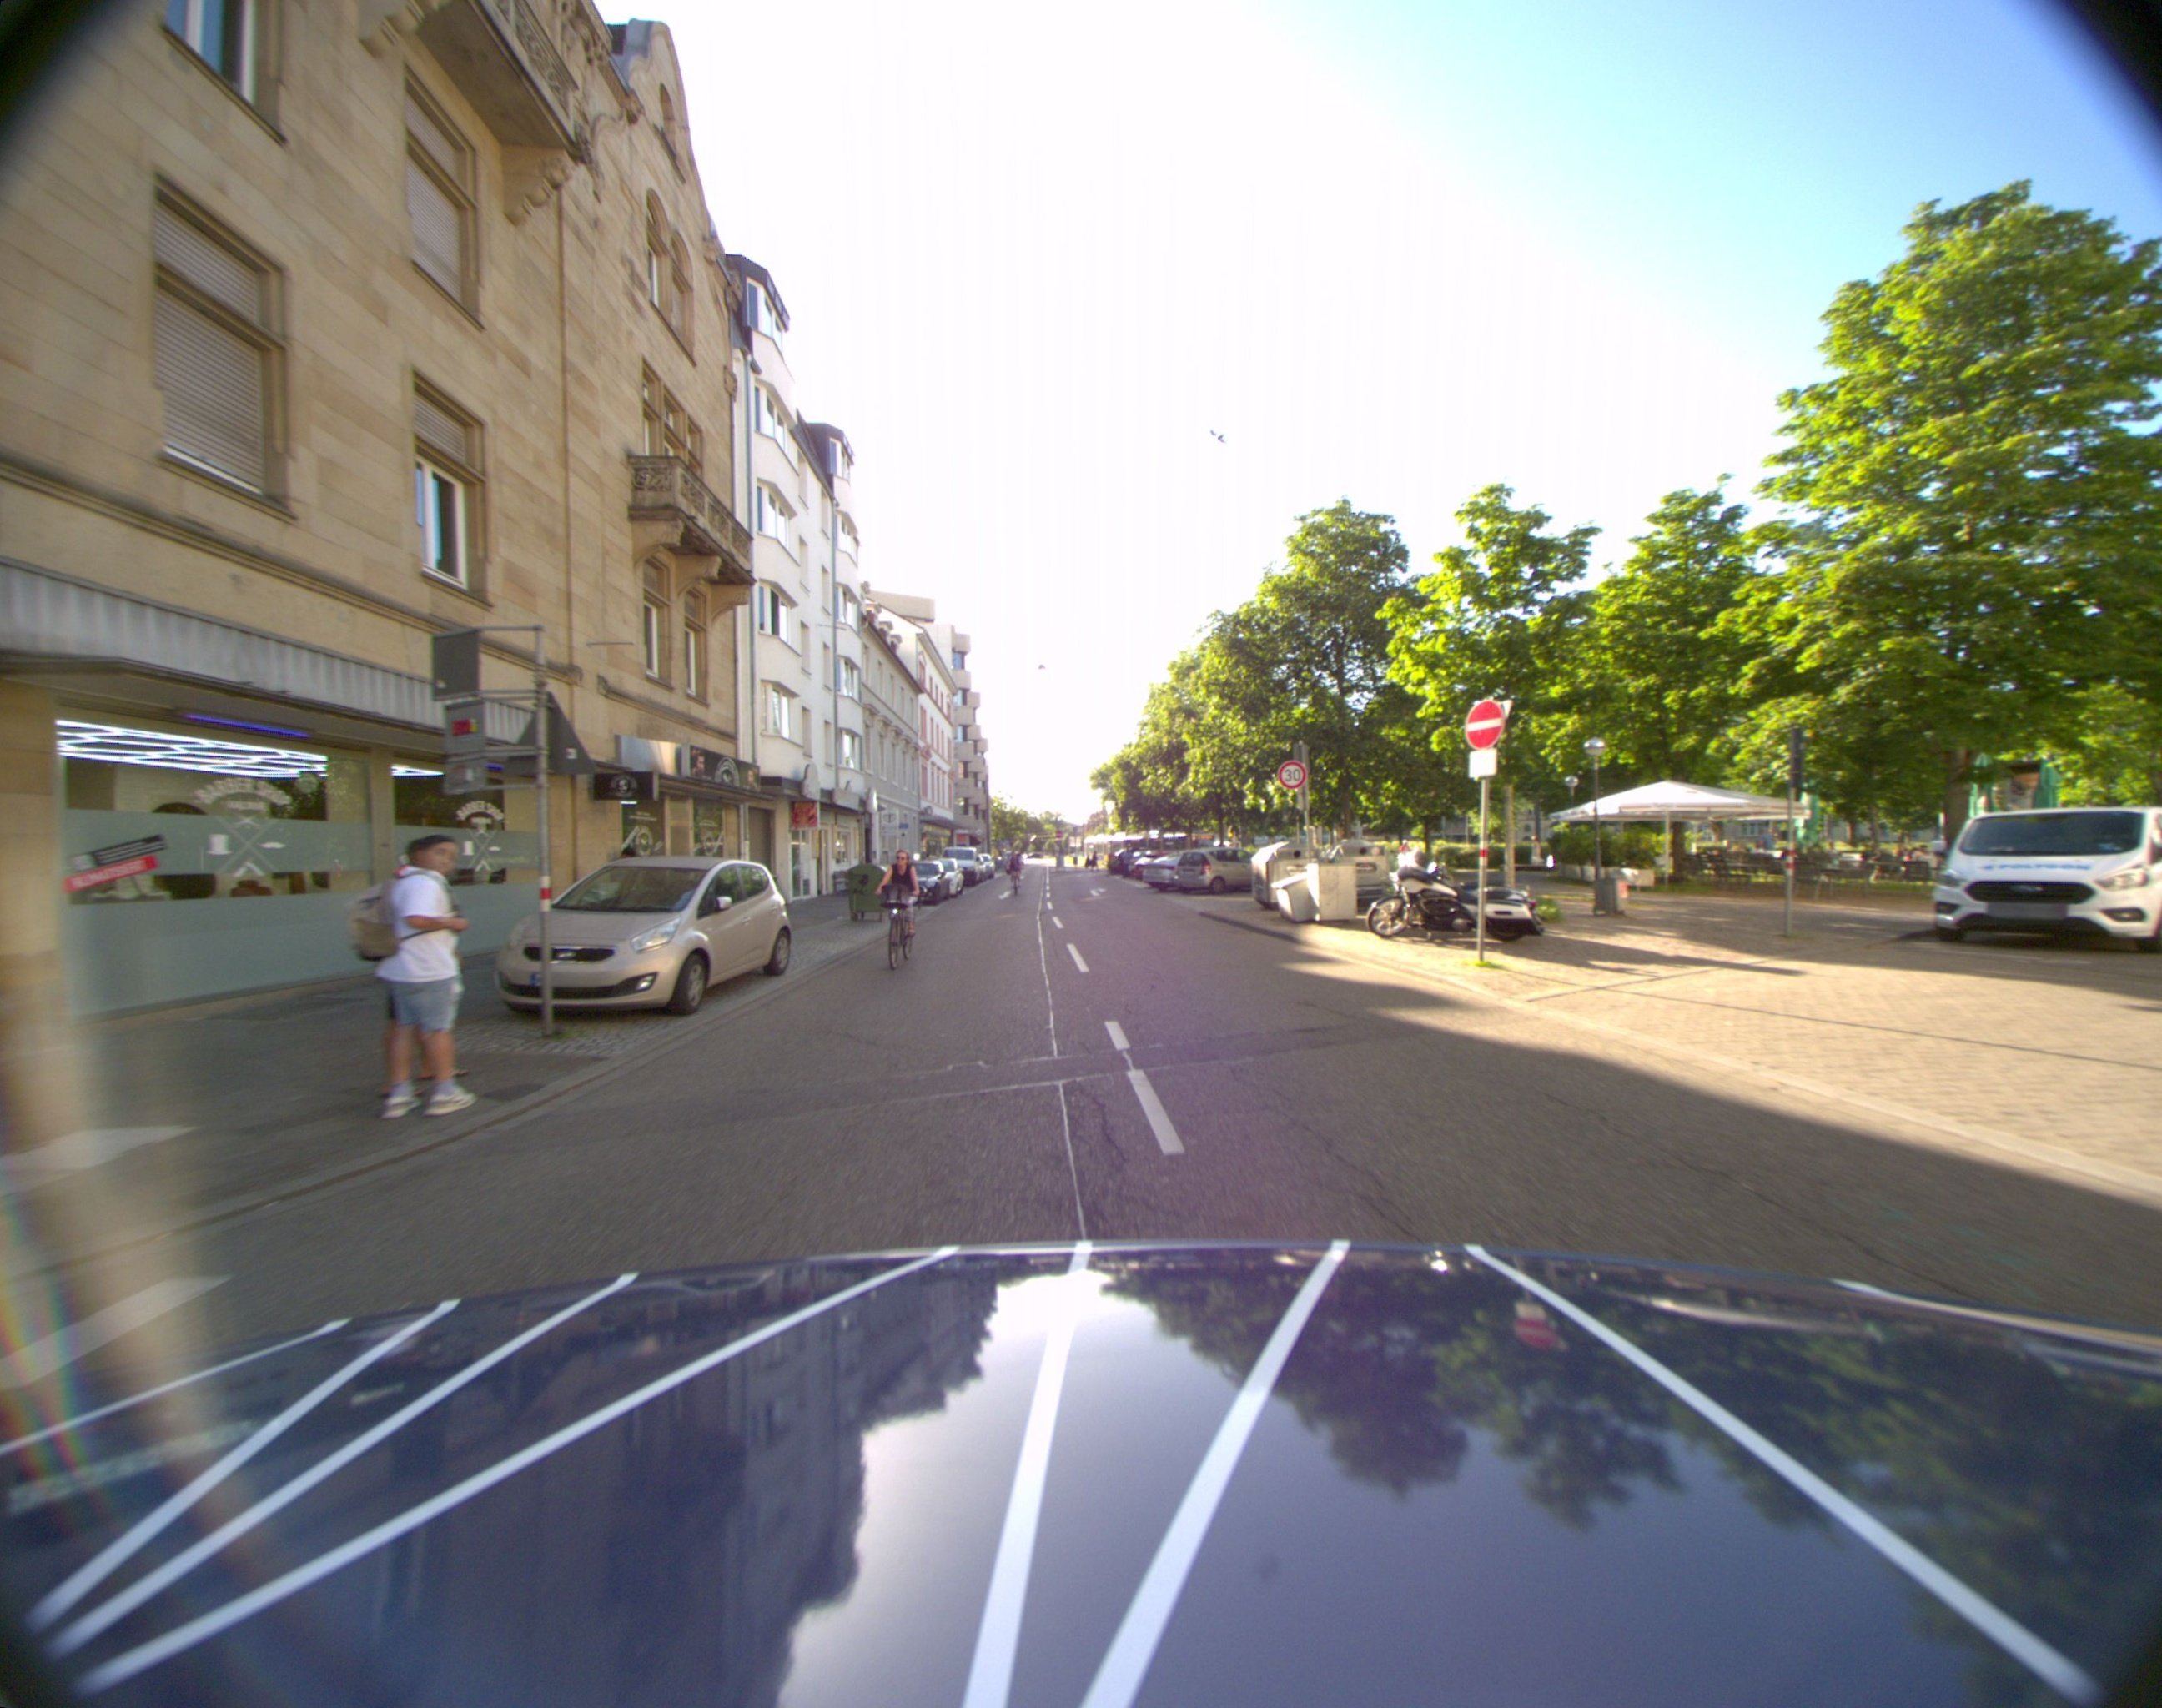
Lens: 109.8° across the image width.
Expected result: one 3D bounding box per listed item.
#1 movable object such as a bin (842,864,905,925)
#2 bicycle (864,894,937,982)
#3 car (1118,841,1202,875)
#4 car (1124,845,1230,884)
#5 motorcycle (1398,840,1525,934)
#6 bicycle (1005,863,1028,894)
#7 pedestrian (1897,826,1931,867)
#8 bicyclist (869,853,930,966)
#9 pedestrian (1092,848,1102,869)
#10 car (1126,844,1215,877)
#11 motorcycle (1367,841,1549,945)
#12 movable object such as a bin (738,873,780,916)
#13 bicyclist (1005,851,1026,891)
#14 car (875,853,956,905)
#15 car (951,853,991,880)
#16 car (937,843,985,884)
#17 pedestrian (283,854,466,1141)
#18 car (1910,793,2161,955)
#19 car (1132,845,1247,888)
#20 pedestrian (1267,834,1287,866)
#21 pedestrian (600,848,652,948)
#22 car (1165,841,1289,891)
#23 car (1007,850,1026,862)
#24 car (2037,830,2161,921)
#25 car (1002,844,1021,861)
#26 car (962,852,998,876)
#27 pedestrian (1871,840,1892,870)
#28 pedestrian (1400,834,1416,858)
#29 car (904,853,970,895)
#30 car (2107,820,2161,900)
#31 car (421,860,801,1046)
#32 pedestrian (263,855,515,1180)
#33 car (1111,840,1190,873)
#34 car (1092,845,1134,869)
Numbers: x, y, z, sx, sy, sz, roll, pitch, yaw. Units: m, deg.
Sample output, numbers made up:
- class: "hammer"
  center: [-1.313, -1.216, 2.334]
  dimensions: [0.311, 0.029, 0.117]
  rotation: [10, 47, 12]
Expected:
- class: "movable object such as a bin"
  center: [-5.221, 0.992, 19.231]
  dimensions: [1.148, 1.414, 1.411]
  rotation: [2, 1, 1]
- class: "bicycle"
  center: [-2.642, 1.196, 11.315]
  dimensions: [0.666, 1.061, 1.835]
  rotation: [-2, 1, -2]
- class: "car"
  center: [4.253, 0.166, 41.068]
  dimensions: [4.004, 1.635, 2.098]
  rotation: [-2, 3, -22]
- class: "car"
  center: [4.072, 0.418, 32.176]
  dimensions: [4.005, 1.465, 1.995]
  rotation: [-2, 1, -29]
- class: "motorcycle"
  center: [6.083, 0.511, 12.247]
  dimensions: [1.750, 1.415, 0.830]
  rotation: [-1, 1, 24]
- class: "bicycle"
  center: [-2.586, 0.974, 30.612]
  dimensions: [0.718, 1.106, 2.269]
  rotation: [-2, 1, 0]
- class: "pedestrian"
  center: [28.254, -0.246, 25.784]
  dimensions: [0.567, 1.349, 0.572]
  rotation: [-2, 1, -13]
- class: "bicyclist"
  center: [-2.650, 0.784, 11.185]
  dimensions: [0.658, 1.562, 0.908]
  rotation: [-2, 1, -2]
- class: "pedestrian"
  center: [1.247, 0.370, 59.434]
  dimensions: [0.691, 1.578, 0.615]
  rotation: [-1, 1, 8]
- class: "car"
  center: [4.501, 0.299, 38.398]
  dimensions: [4.002, 1.465, 1.997]
  rotation: [-2, 1, -15]
- class: "motorcycle"
  center: [5.563, 0.561, 11.360]
  dimensions: [2.316, 1.415, 1.002]
  rotation: [-1, 1, 25]
- class: "movable object such as a bin"
  center: [-8.236, 1.031, 19.474]
  dimensions: [0.725, 1.042, 0.663]
  rotation: [2, -1, 7]
- class: "bicyclist"
  center: [-2.593, 0.667, 30.227]
  dimensions: [0.718, 1.553, 0.864]
  rotation: [-2, 1, 0]
- class: "car"
  center: [-5.515, 0.770, 25.848]
  dimensions: [1.999, 1.565, 3.998]
  rotation: [1, 1, -2]
- class: "car"
  center: [-6.394, 0.697, 44.442]
  dimensions: [1.999, 1.444, 3.867]
  rotation: [1, 1, -4]
- class: "car"
  center: [-6.126, 0.431, 39.323]
  dimensions: [1.999, 1.942, 5.098]
  rotation: [1, 1, -4]
- class: "pedestrian"
  center: [-4.595, 0.865, 5.004]
  dimensions: [0.699, 1.709, 0.693]
  rotation: [0, 1, -25]
- class: "car"
  center: [14.715, 0.212, 11.239]
  dimensions: [5.336, 1.933, 2.070]
  rotation: [-1, 0, -28]
- class: "car"
  center: [4.181, 0.444, 29.031]
  dimensions: [4.006, 1.434, 1.995]
  rotation: [-2, 1, -34]
- class: "pedestrian"
  center: [7.739, -0.173, 29.959]
  dimensions: [0.521, 1.250, 0.525]
  rotation: [-2, 2, -36]
- class: "pedestrian"
  center: [-8.216, 0.776, 13.736]
  dimensions: [0.536, 1.732, 0.597]
  rotation: [-2, 1, -7]
- class: "car"
  center: [5.187, 0.388, 26.858]
  dimensions: [4.006, 1.553, 1.995]
  rotation: [-2, 1, -34]
- class: "car"
  center: [-8.411, 0.238, 99.316]
  dimensions: [1.999, 1.494, 3.999]
  rotation: [-2, 1, 0]
- class: "car"
  center: [19.496, 0.328, 13.793]
  dimensions: [4.157, 1.508, 1.924]
  rotation: [-1, 0, -28]
- class: "car"
  center: [-8.413, -0.231, 92.388]
  dimensions: [1.999, 2.002, 3.998]
  rotation: [-2, 1, -2]
- class: "car"
  center: [-6.510, 0.638, 49.291]
  dimensions: [1.999, 1.444, 3.953]
  rotation: [1, 1, -4]
- class: "pedestrian"
  center: [25.891, 0.024, 24.563]
  dimensions: [0.366, 0.947, 0.383]
  rotation: [-2, 2, -27]
- class: "pedestrian"
  center: [17.191, -0.439, 39.969]
  dimensions: [0.527, 1.250, 0.519]
  rotation: [-1, 1, -21]
- class: "car"
  center: [-5.603, 0.738, 29.983]
  dimensions: [1.999, 1.483, 3.998]
  rotation: [1, 1, -2]
- class: "car"
  center: [23.828, 0.095, 16.066]
  dimensions: [4.157, 1.603, 1.924]
  rotation: [-1, 0, -28]
- class: "car"
  center: [-4.946, 0.909, 8.851]
  dimensions: [1.979, 1.565, 4.125]
  rotation: [1, 1, -2]
- class: "pedestrian"
  center: [-4.105, 0.868, 4.561]
  dimensions: [0.693, 1.709, 0.896]
  rotation: [1, 1, 22]
- class: "car"
  center: [3.978, 0.135, 43.740]
  dimensions: [4.004, 1.684, 1.996]
  rotation: [-2, 1, -22]
- class: "car"
  center: [2.148, 0.168, 50.000]
  dimensions: [1.772, 1.421, 4.004]
  rotation: [-2, 1, 17]
